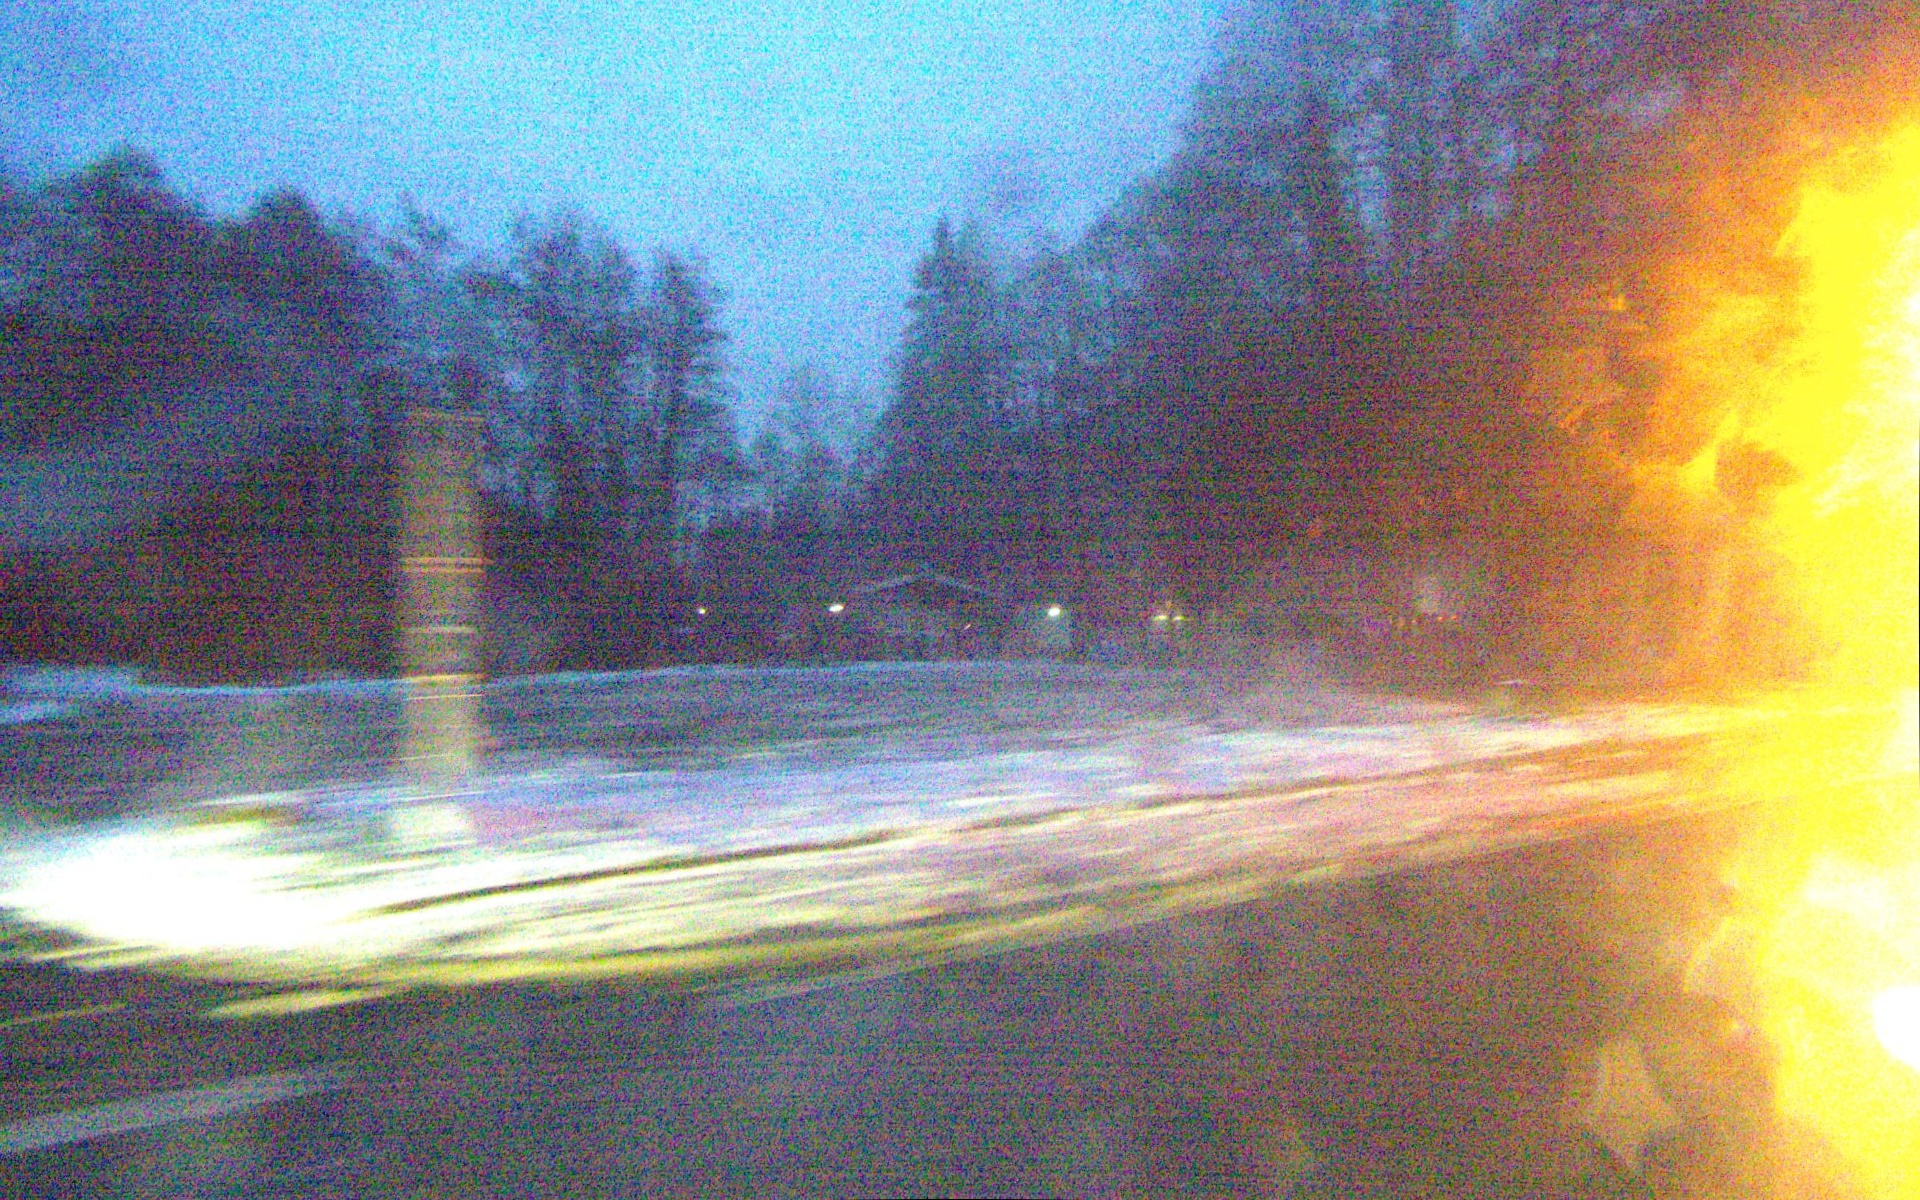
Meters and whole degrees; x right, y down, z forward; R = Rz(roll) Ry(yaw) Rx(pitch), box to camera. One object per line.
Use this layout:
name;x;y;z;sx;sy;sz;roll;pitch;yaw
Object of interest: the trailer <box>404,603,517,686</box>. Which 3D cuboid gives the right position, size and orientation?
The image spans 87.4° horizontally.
trailer;-14.453;1.327;29.316;1.939;2.246;3.804;1;-4;-11
